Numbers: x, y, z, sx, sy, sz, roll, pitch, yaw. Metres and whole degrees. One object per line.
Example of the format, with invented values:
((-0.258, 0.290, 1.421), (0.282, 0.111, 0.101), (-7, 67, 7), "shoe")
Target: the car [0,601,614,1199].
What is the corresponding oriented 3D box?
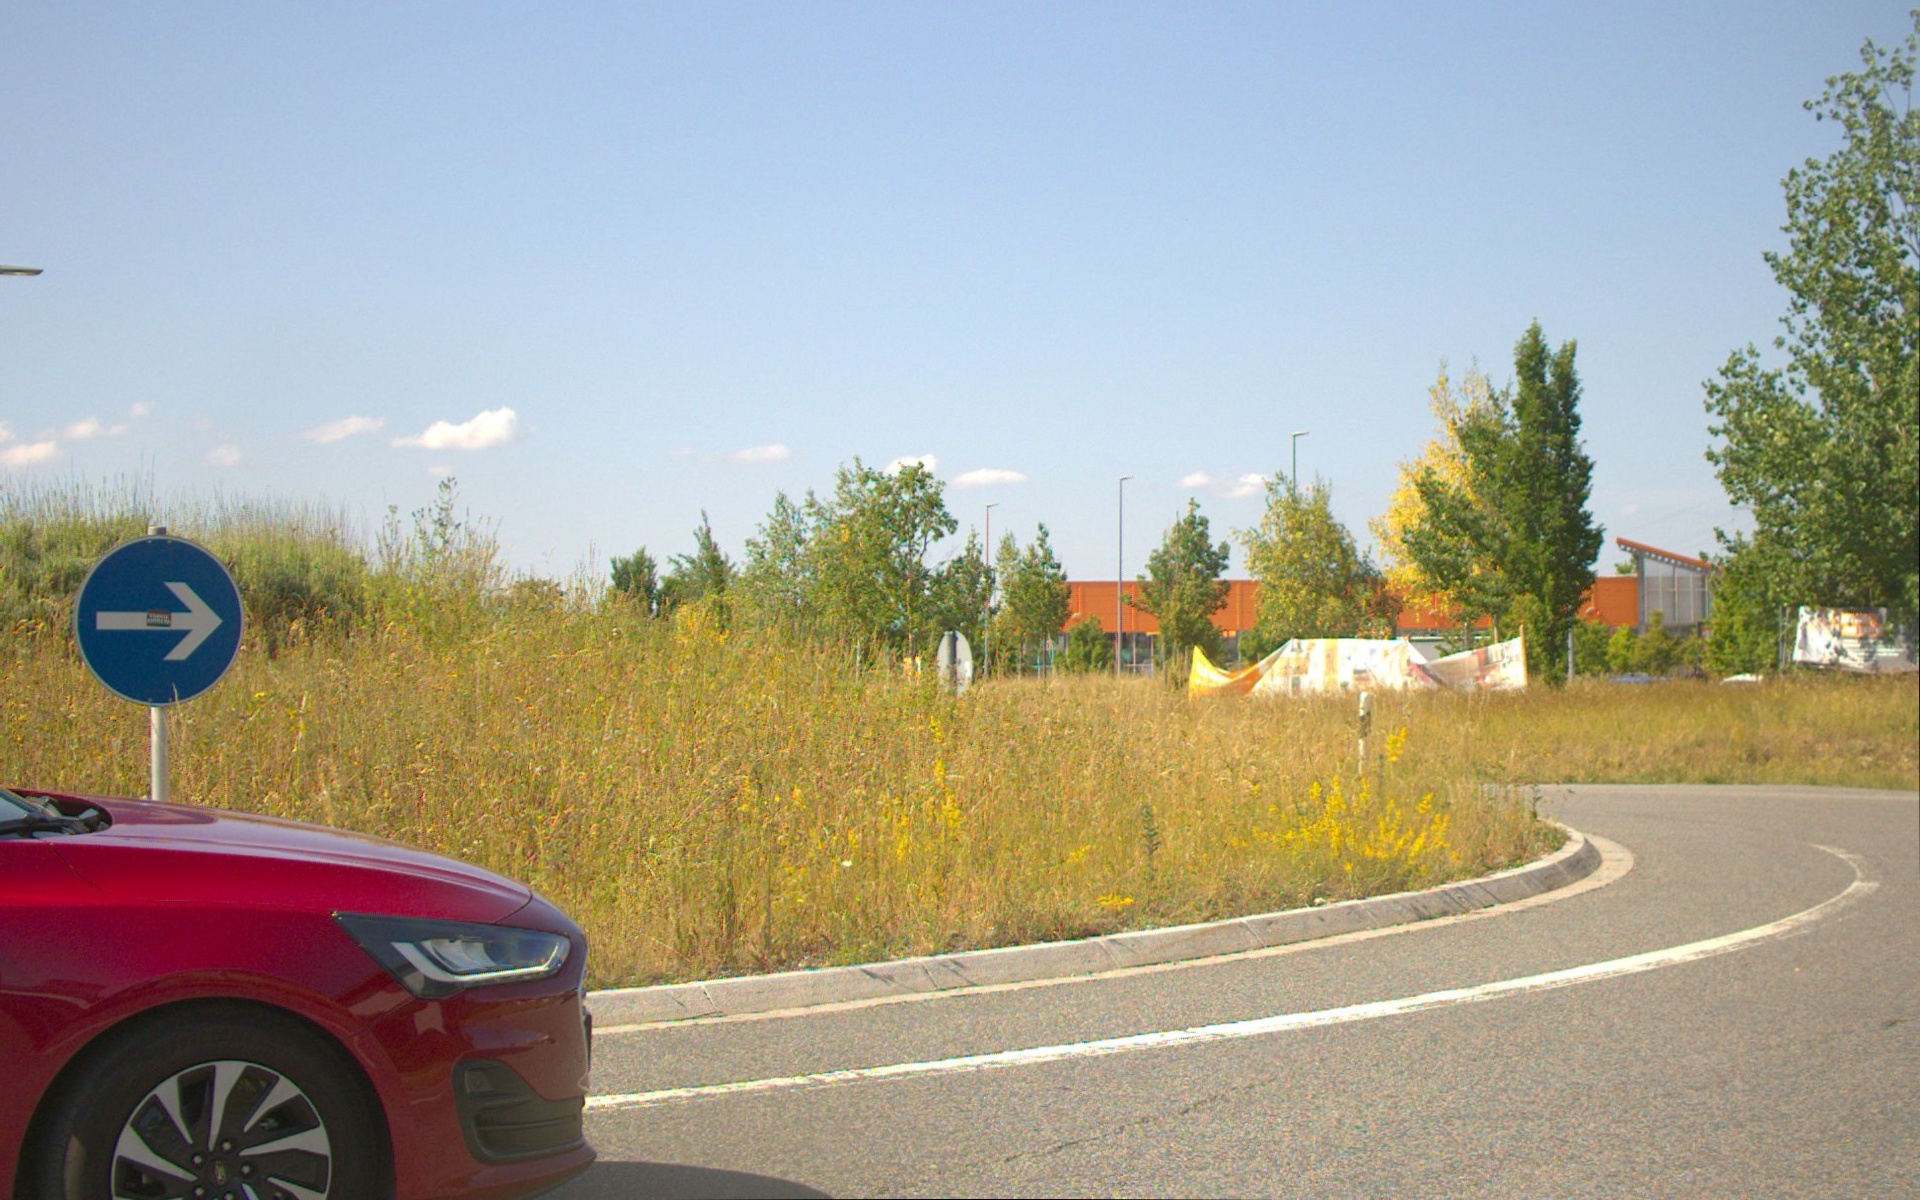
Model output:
((-2.925, 0.745, 7.064), (4.103, 1.411, 1.809), (-1, 0, -18), "car")
